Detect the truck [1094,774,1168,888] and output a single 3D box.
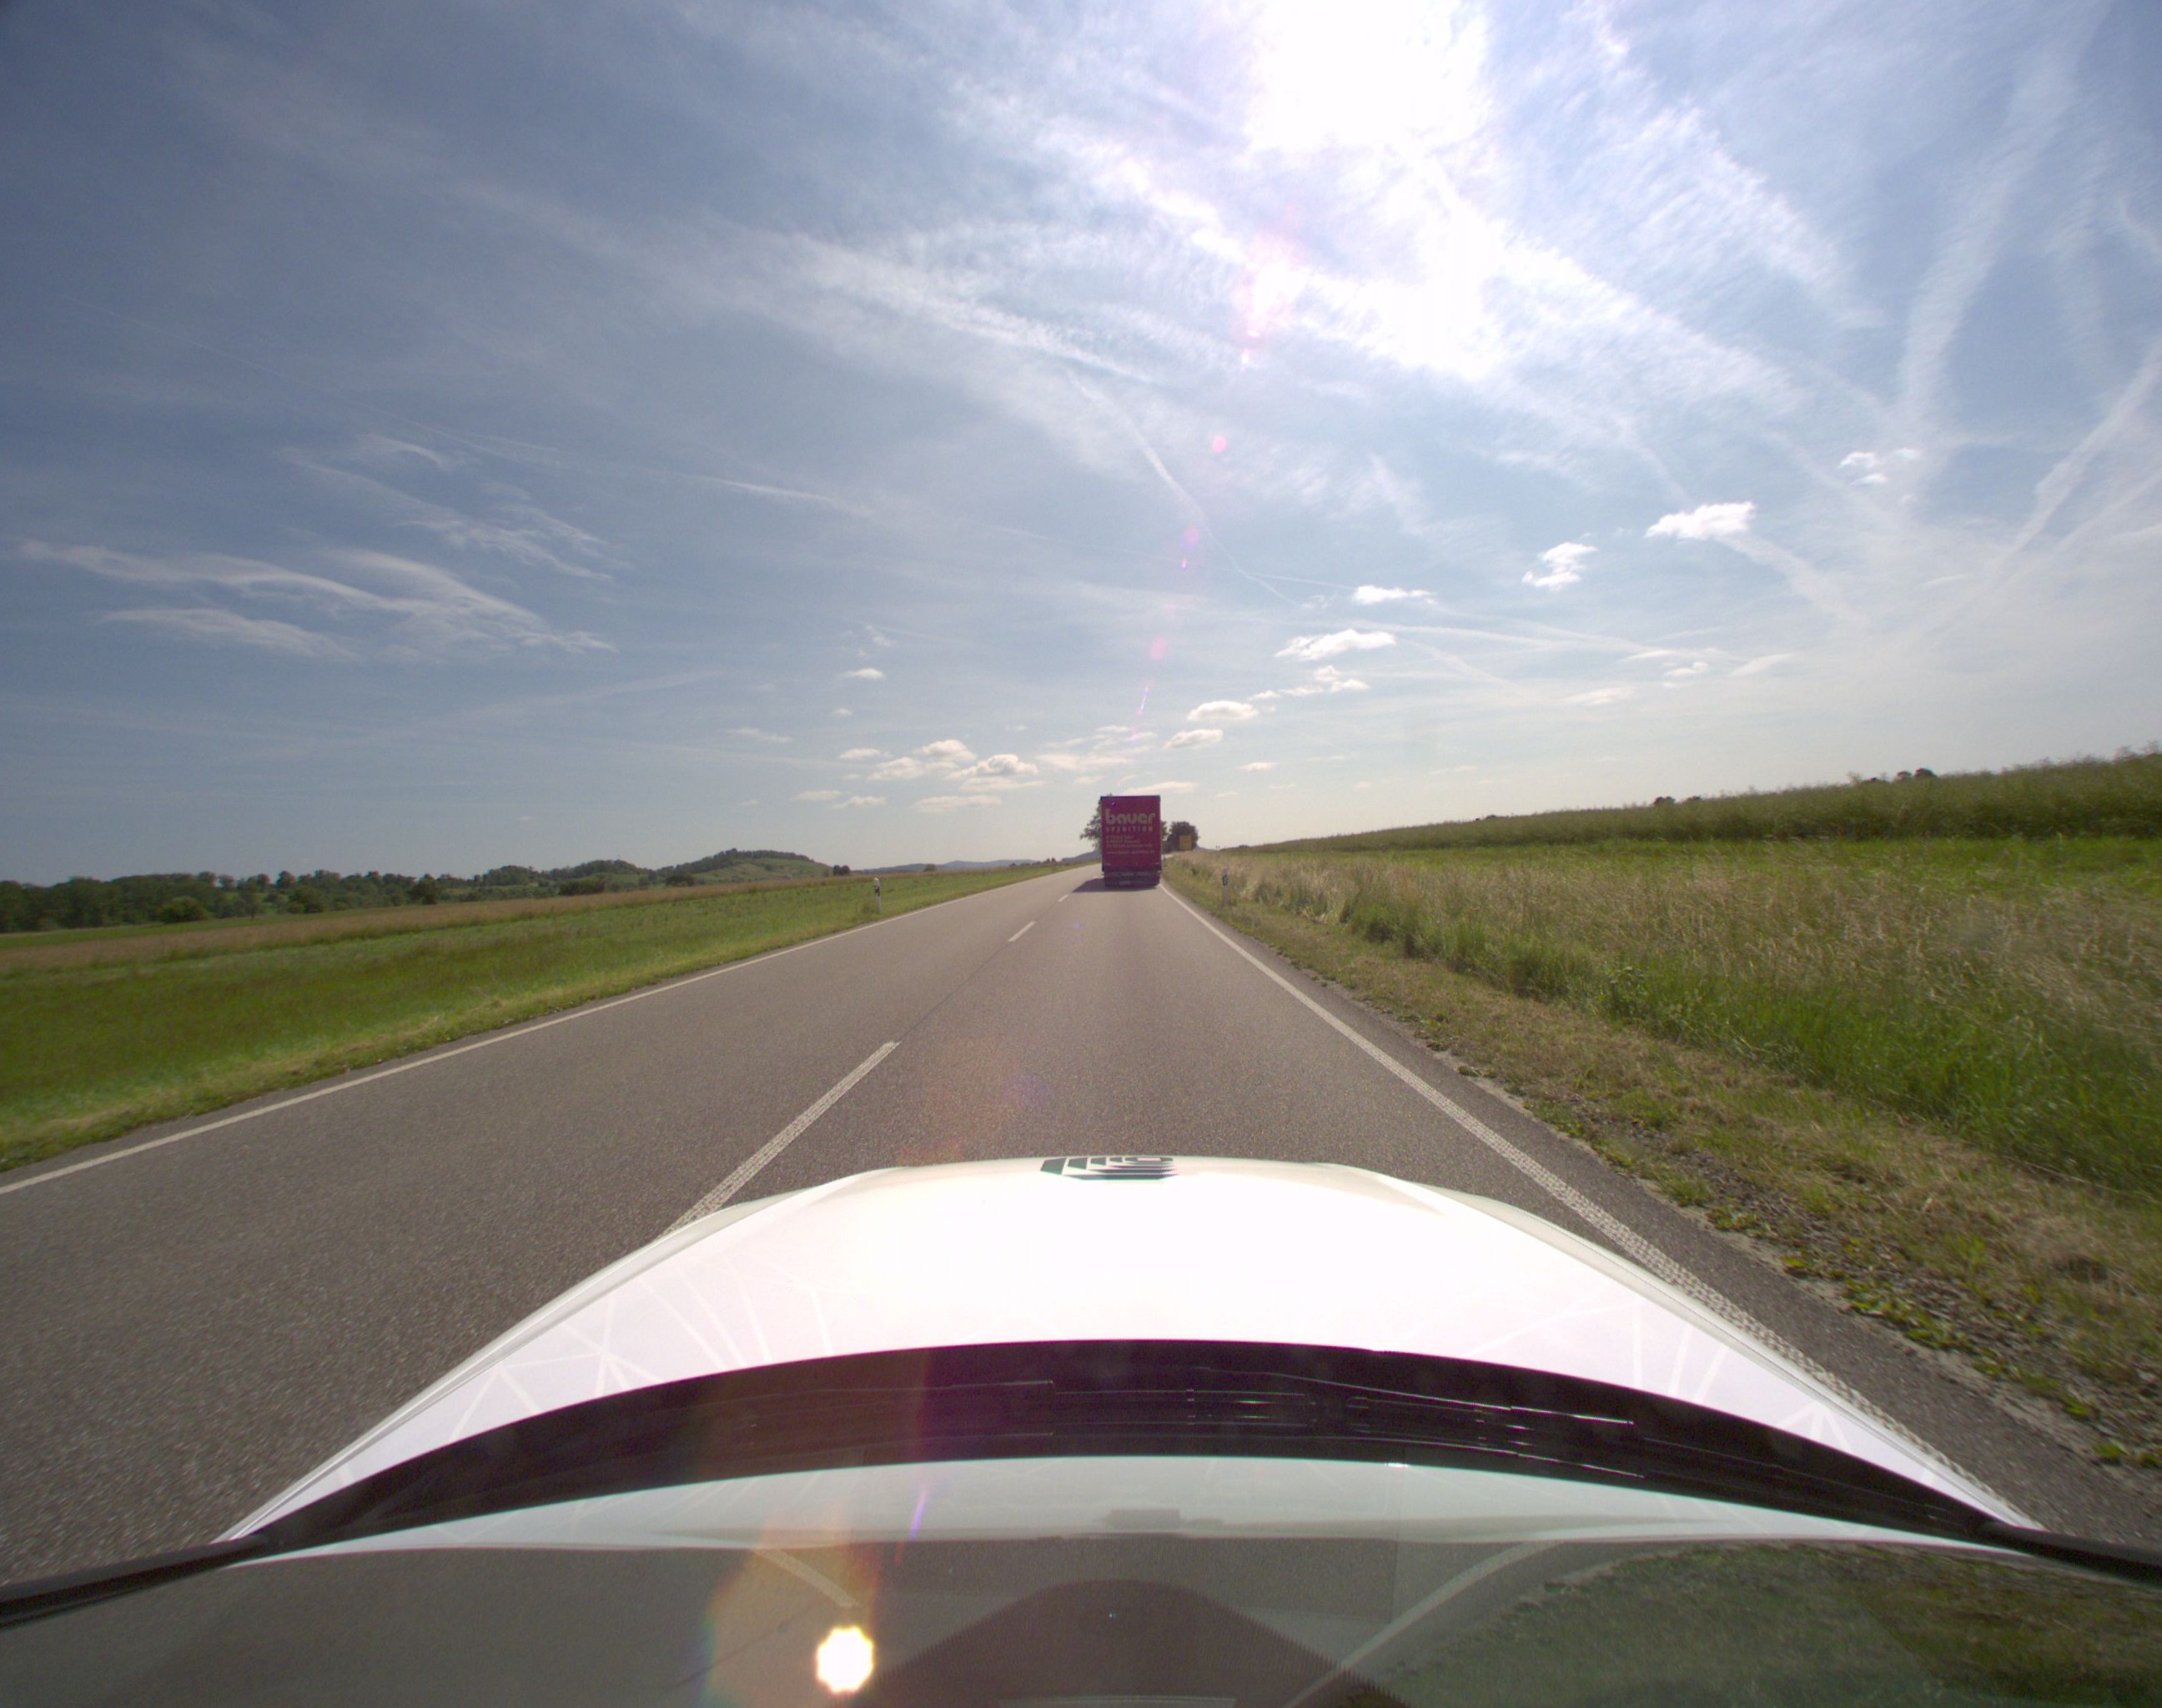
[{"bbox_3d":[2.324,-1.018,38.811,2.963,4.713,9.373,-2,1,3],"label":"truck"}]
